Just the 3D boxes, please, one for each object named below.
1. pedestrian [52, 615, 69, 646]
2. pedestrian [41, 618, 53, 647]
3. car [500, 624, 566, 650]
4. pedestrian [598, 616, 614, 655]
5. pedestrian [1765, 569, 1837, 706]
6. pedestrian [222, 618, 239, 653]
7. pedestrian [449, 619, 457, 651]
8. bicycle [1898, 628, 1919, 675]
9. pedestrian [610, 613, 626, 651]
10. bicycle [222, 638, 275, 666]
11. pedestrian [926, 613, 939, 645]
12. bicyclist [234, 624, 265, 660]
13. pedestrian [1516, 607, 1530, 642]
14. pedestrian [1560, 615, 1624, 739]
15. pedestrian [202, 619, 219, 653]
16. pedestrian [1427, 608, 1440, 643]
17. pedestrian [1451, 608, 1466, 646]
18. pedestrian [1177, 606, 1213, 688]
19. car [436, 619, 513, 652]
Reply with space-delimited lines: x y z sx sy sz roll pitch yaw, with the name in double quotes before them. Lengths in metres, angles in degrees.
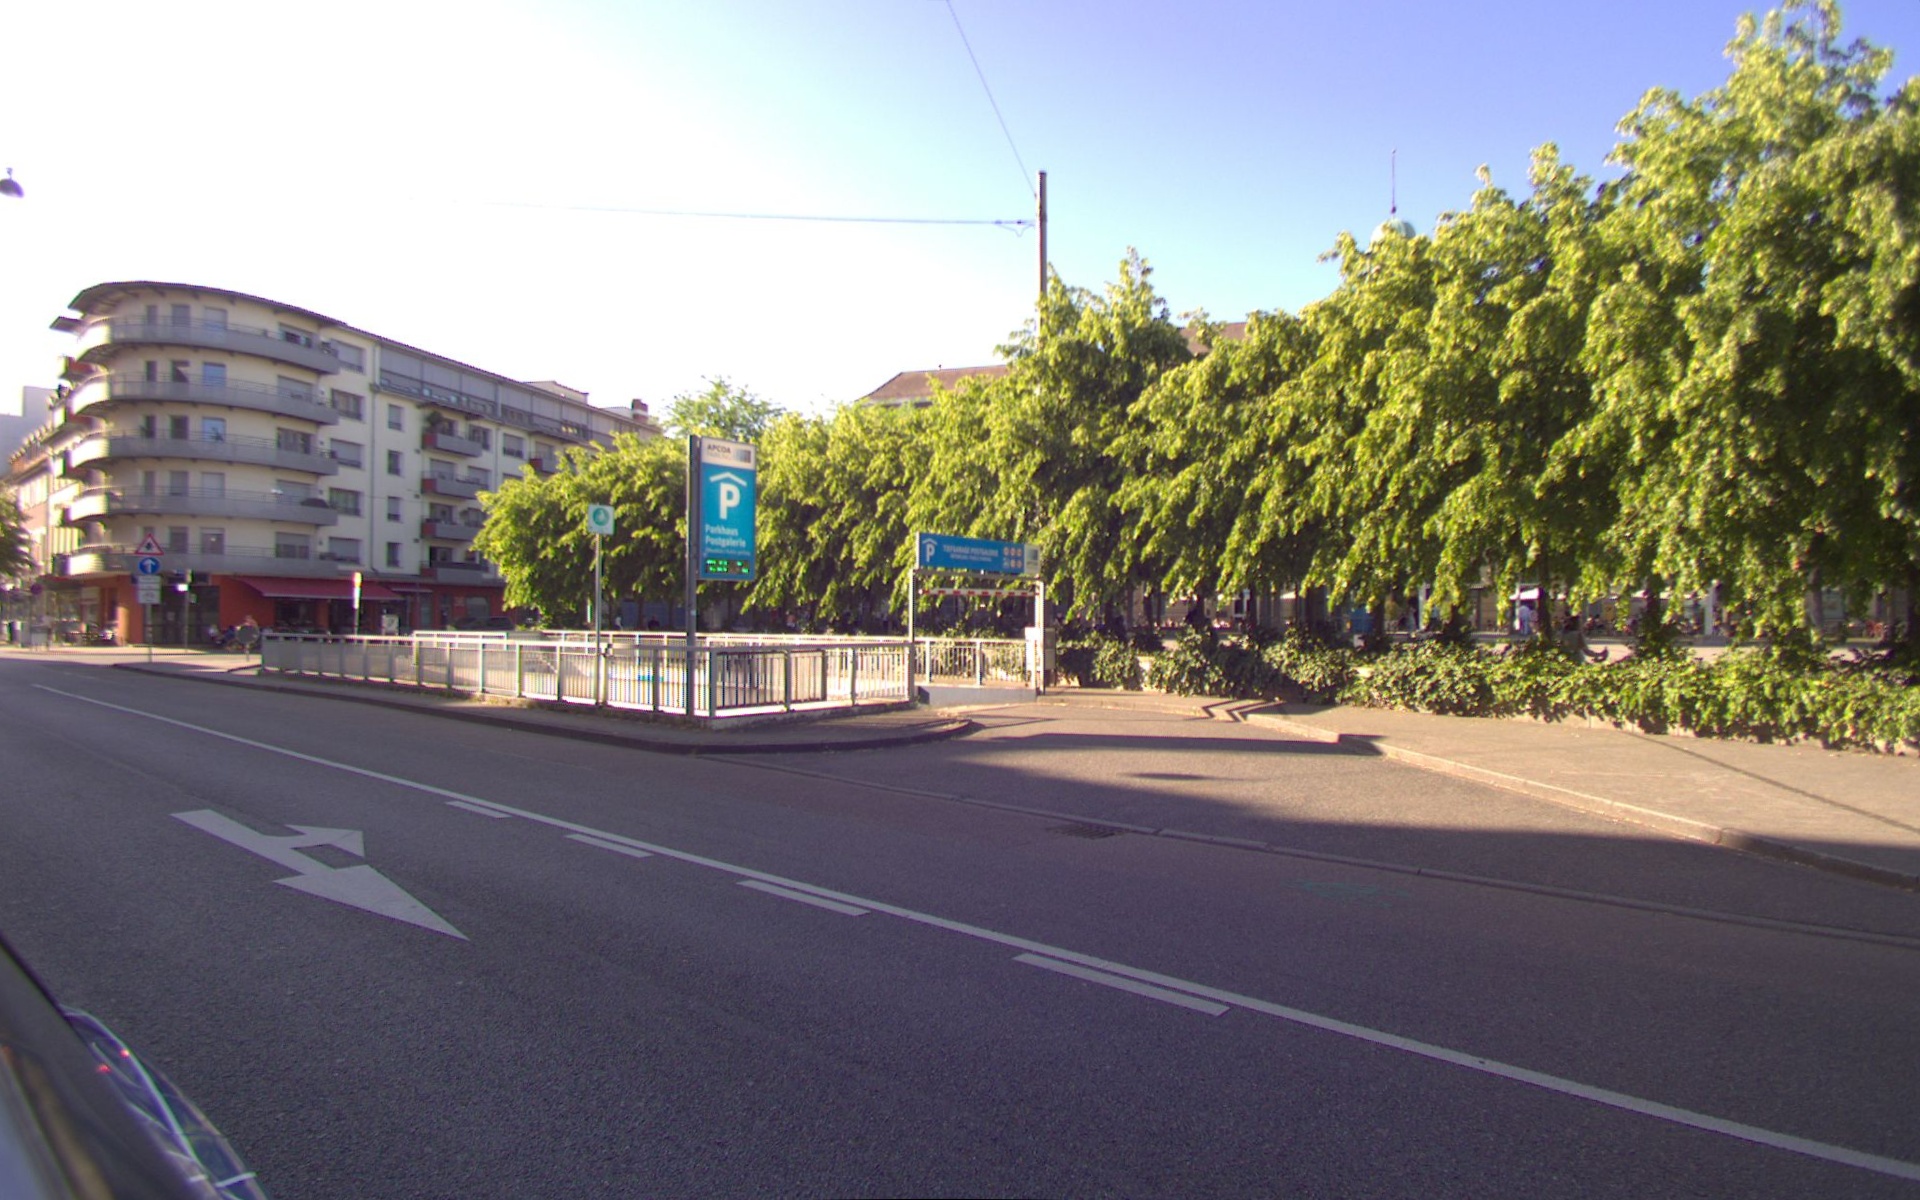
"pedestrian" -48.257 1.624 54.279 0.792 1.634 0.563 -1 -1 37
"pedestrian" -48.677 1.736 53.953 0.515 1.541 0.371 -1 -1 37
"car" -28.884 2.476 68.607 1.938 1.633 4.272 -1 -1 16
"pedestrian" -16.271 1.627 46.522 0.574 1.806 0.602 0 0 -5
"pedestrian" 11.798 0.515 14.217 0.597 1.870 0.578 -1 0 22
"pedestrian" -36.756 1.785 50.981 0.642 1.721 0.568 -2 -2 43
"pedestrian" -26.901 1.835 53.666 0.318 1.680 0.362 0 -1 -17
"bicycle" 21.832 1.157 22.203 0.496 1.024 2.061 -1 0 -3
"pedestrian" -16.232 1.505 48.069 0.574 1.806 0.601 -1 0 0
"bicycle" -32.717 2.371 46.562 1.843 1.221 0.715 0 -1 -10
"pedestrian" -1.580 1.672 57.898 0.578 1.806 0.597 -1 0 20
"bicyclist" -32.702 1.936 46.566 0.960 1.627 0.715 0 0 -10
"pedestrian" 29.292 1.293 52.656 0.598 1.806 0.577 -1 0 27
"pedestrian" 9.891 1.171 15.830 0.732 1.870 0.574 -1 -1 44
"pedestrian" -37.545 1.801 50.693 0.642 1.721 0.568 -2 -2 43
"pedestrian" 24.753 1.335 52.875 0.580 1.806 0.596 -1 0 27
"pedestrian" 23.823 1.292 48.360 0.599 1.806 0.576 -1 -1 31
"pedestrian" 5.517 1.091 23.736 0.674 1.870 0.577 -1 -1 30
"car" -30.323 2.198 63.325 1.938 1.927 4.403 -1 -1 16
